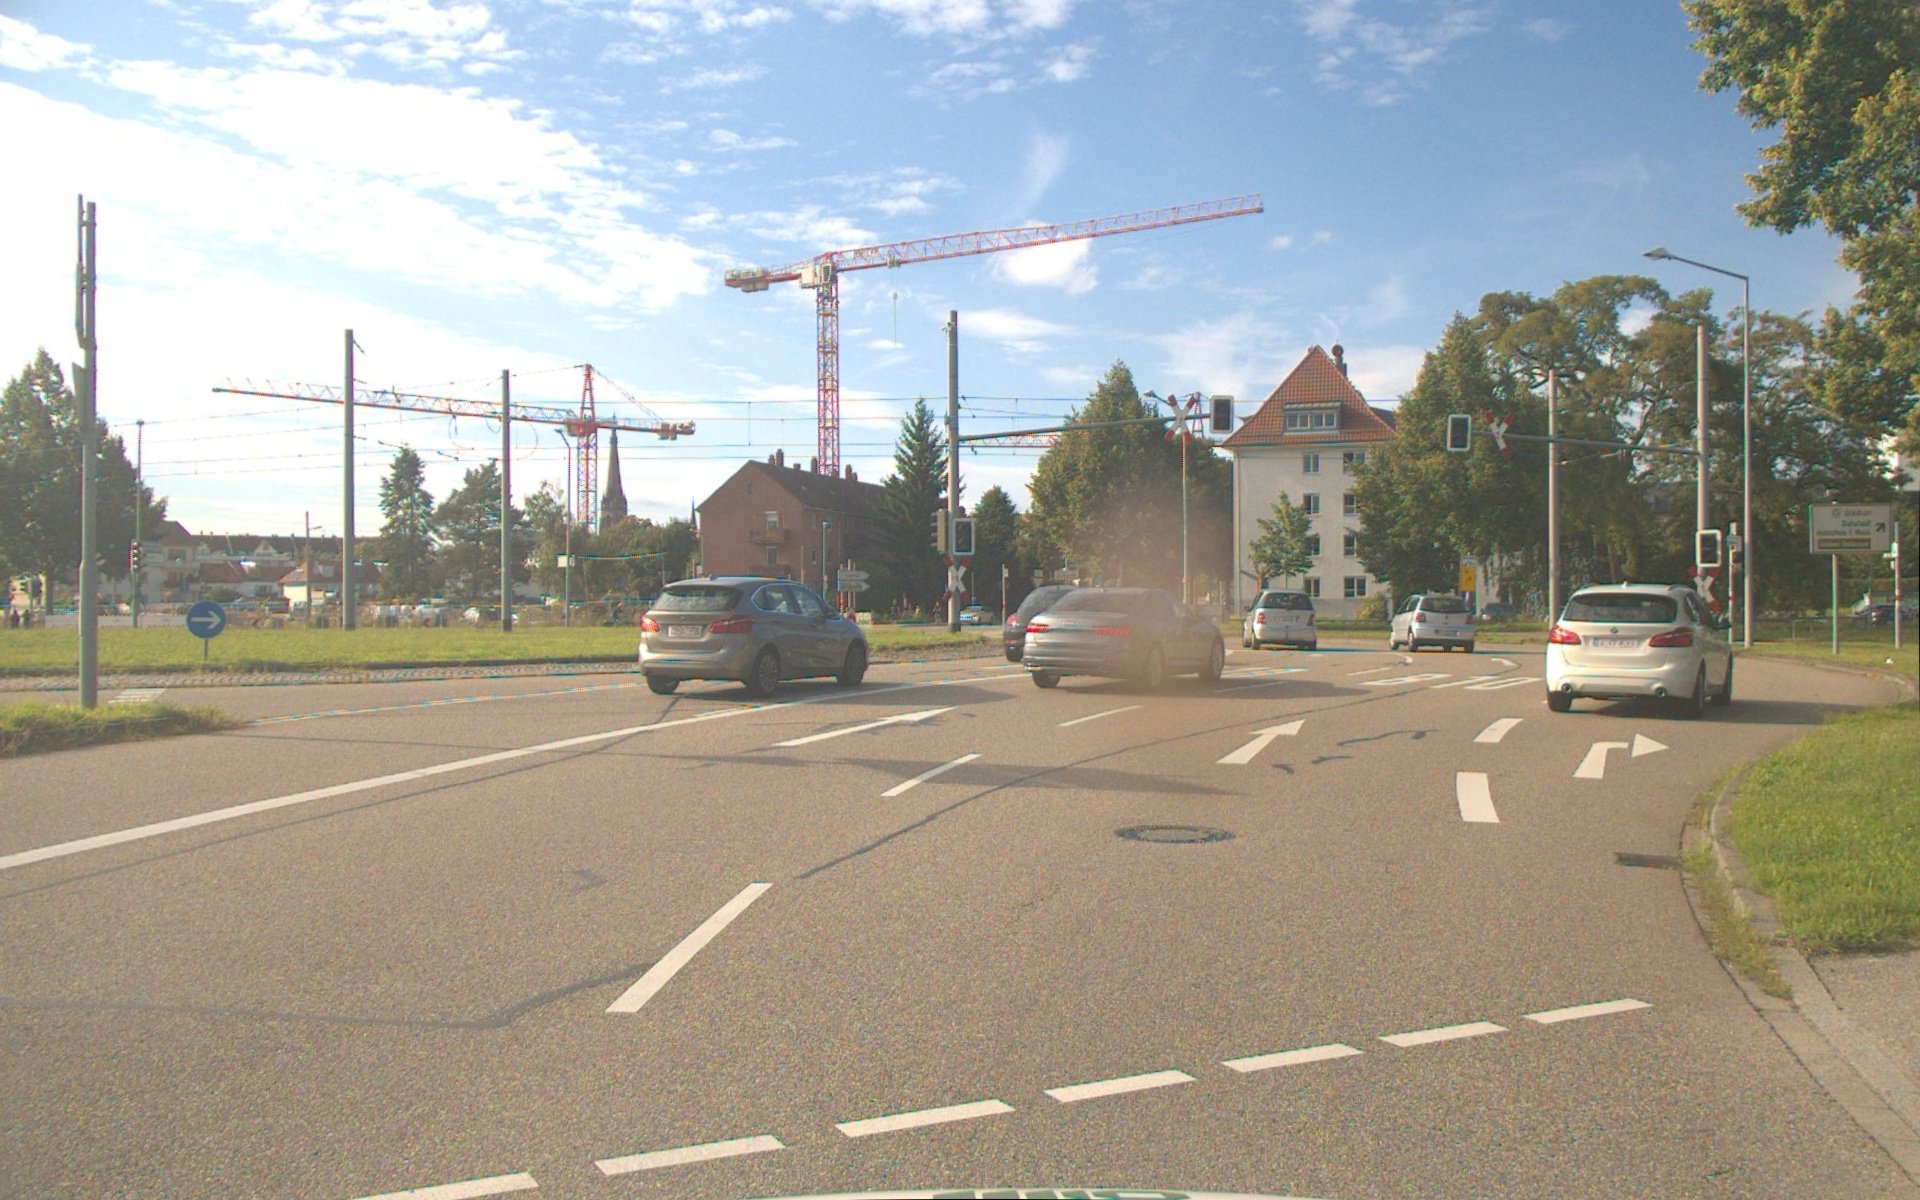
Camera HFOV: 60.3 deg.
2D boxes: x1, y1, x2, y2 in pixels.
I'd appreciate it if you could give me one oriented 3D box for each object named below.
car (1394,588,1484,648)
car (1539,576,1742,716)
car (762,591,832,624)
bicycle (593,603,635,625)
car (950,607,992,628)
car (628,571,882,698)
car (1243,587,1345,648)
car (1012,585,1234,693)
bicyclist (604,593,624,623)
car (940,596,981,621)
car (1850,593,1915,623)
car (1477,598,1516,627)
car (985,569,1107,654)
[{"bbox_3d":[12.509,0.465,43.377,1.811,1.451,4.458,1,0,10],"label":"car"},{"bbox_3d":[8.838,0.542,21.264,1.816,1.600,4.445,0,0,31],"label":"car"},{"bbox_3d":[-9.816,0.480,99.839,1.860,1.936,4.653,0,-1,29],"label":"car"},{"bbox_3d":[-18.946,0.771,90.578,2.100,1.157,0.772,-1,0,-3],"label":"bicycle"},{"bbox_3d":[0.877,1.313,126.113,1.856,1.570,4.663,0,0,18],"label":"car"},{"bbox_3d":[-2.745,0.450,23.139,1.732,1.600,4.066,0,0,23],"label":"car"},{"bbox_3d":[8.875,0.464,43.676,1.813,1.504,4.453,0,0,22],"label":"car"},{"bbox_3d":[2.574,0.531,24.976,1.814,1.470,4.710,0,0,26],"label":"car"},{"bbox_3d":[-18.962,0.421,90.579,0.938,1.602,0.772,-1,0,-3],"label":"bicyclist"},{"bbox_3d":[0.035,0.667,130.376,1.856,1.936,4.663,0,0,18],"label":"car"},{"bbox_3d":[43.687,0.376,78.431,1.816,1.383,4.735,-1,0,19],"label":"car"},{"bbox_3d":[27.169,0.610,83.677,1.816,1.405,4.517,-1,0,19],"label":"car"},{"bbox_3d":[1.817,0.248,33.549,1.951,1.568,4.003,2,-1,10],"label":"car"}]
